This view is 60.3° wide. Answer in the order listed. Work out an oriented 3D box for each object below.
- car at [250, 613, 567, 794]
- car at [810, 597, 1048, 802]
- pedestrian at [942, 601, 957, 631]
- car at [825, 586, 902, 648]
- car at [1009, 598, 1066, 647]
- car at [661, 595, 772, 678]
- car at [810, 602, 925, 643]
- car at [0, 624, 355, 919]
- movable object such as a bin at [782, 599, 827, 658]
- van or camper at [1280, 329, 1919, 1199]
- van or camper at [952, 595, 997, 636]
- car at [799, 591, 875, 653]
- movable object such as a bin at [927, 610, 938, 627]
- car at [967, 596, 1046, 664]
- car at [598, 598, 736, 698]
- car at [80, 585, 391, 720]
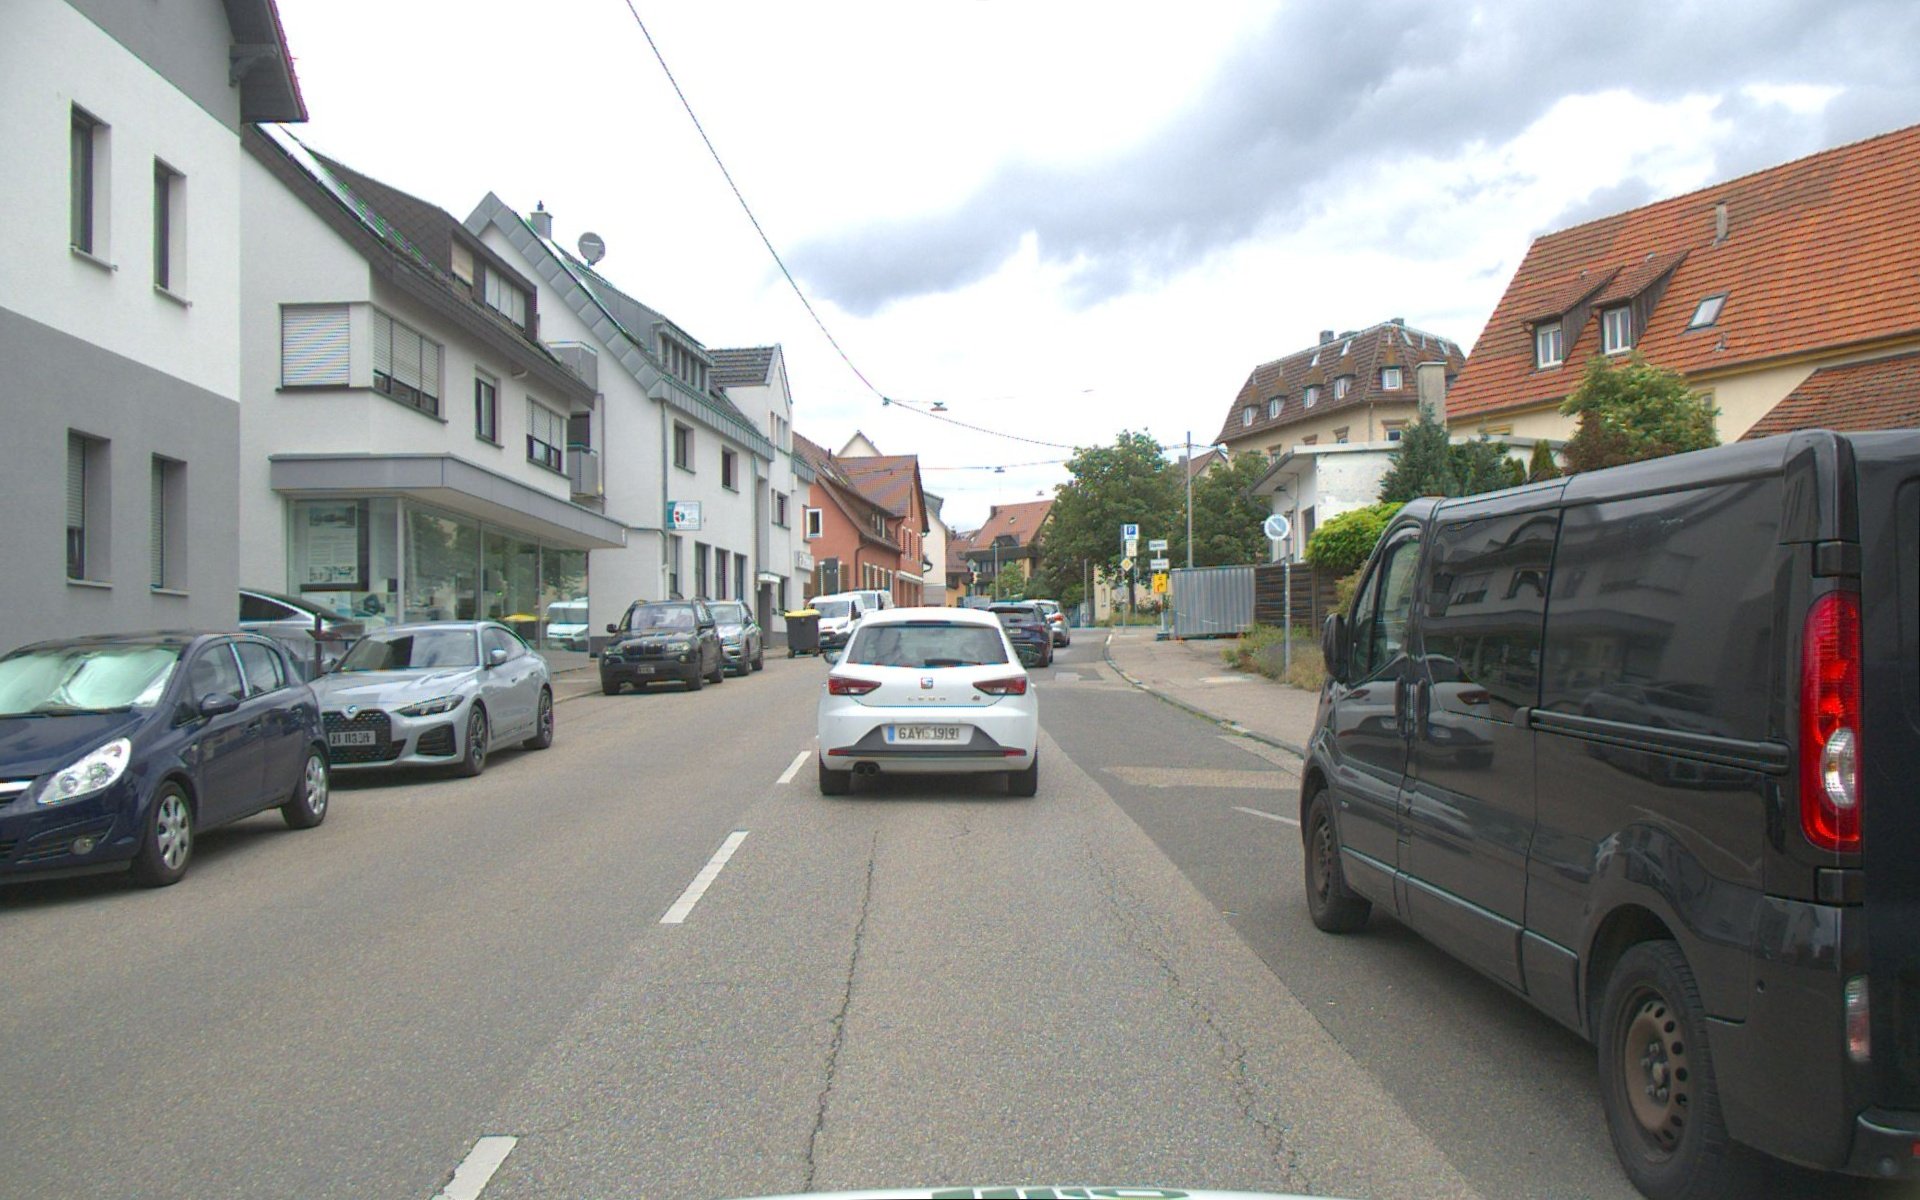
[{"bbox_3d":[-5.412,0.931,16.877,1.800,1.470,4.466,-3,0,-2],"label":"car"},{"bbox_3d":[-0.134,0.757,14.083,1.722,1.477,4.001,-1,-1,3],"label":"car"},{"bbox_3d":[-0.646,0.981,101.267,0.783,1.816,0.893,-1,-1,5],"label":"pedestrian"},{"bbox_3d":[-3.435,0.571,59.721,1.773,2.040,4.767,-3,0,8],"label":"car"},{"bbox_3d":[2.481,0.735,52.711,1.722,1.477,4.001,-1,-2,3],"label":"car"},{"bbox_3d":[-5.322,0.759,36.655,1.800,1.661,4.407,-2,0,-1],"label":"car"},{"bbox_3d":[-3.864,0.925,69.457,4.456,1.470,2.002,-3,-1,9],"label":"car"},{"bbox_3d":[-5.465,0.963,10.661,1.801,1.470,3.997,-3,0,-4],"label":"car"},{"bbox_3d":[-4.541,0.813,48.328,1.117,1.661,1.563,-2,0,-1],"label":"movable object such as a bin"},{"bbox_3d":[2.721,0.496,5.952,1.953,2.049,5.062,2,0,-2],"label":"van or camper"},{"bbox_3d":[0.859,0.879,93.254,2.030,2.041,4.860,-3,-3,5],"label":"van or camper"},{"bbox_3d":[-3.998,0.688,54.376,1.697,1.863,4.300,-3,0,5],"label":"car"},{"bbox_3d":[-1.702,1.170,102.838,0.651,1.036,0.795,-2,-1,2],"label":"movable object such as a bin"},{"bbox_3d":[1.126,0.720,38.447,1.722,1.477,4.001,-1,-2,3],"label":"car"},{"bbox_3d":[-5.441,0.842,31.226,1.800,1.661,4.407,-3,0,-1],"label":"car"},{"bbox_3d":[-11.212,0.791,25.793,3.905,1.888,2.000,-2,0,1],"label":"car"}]
